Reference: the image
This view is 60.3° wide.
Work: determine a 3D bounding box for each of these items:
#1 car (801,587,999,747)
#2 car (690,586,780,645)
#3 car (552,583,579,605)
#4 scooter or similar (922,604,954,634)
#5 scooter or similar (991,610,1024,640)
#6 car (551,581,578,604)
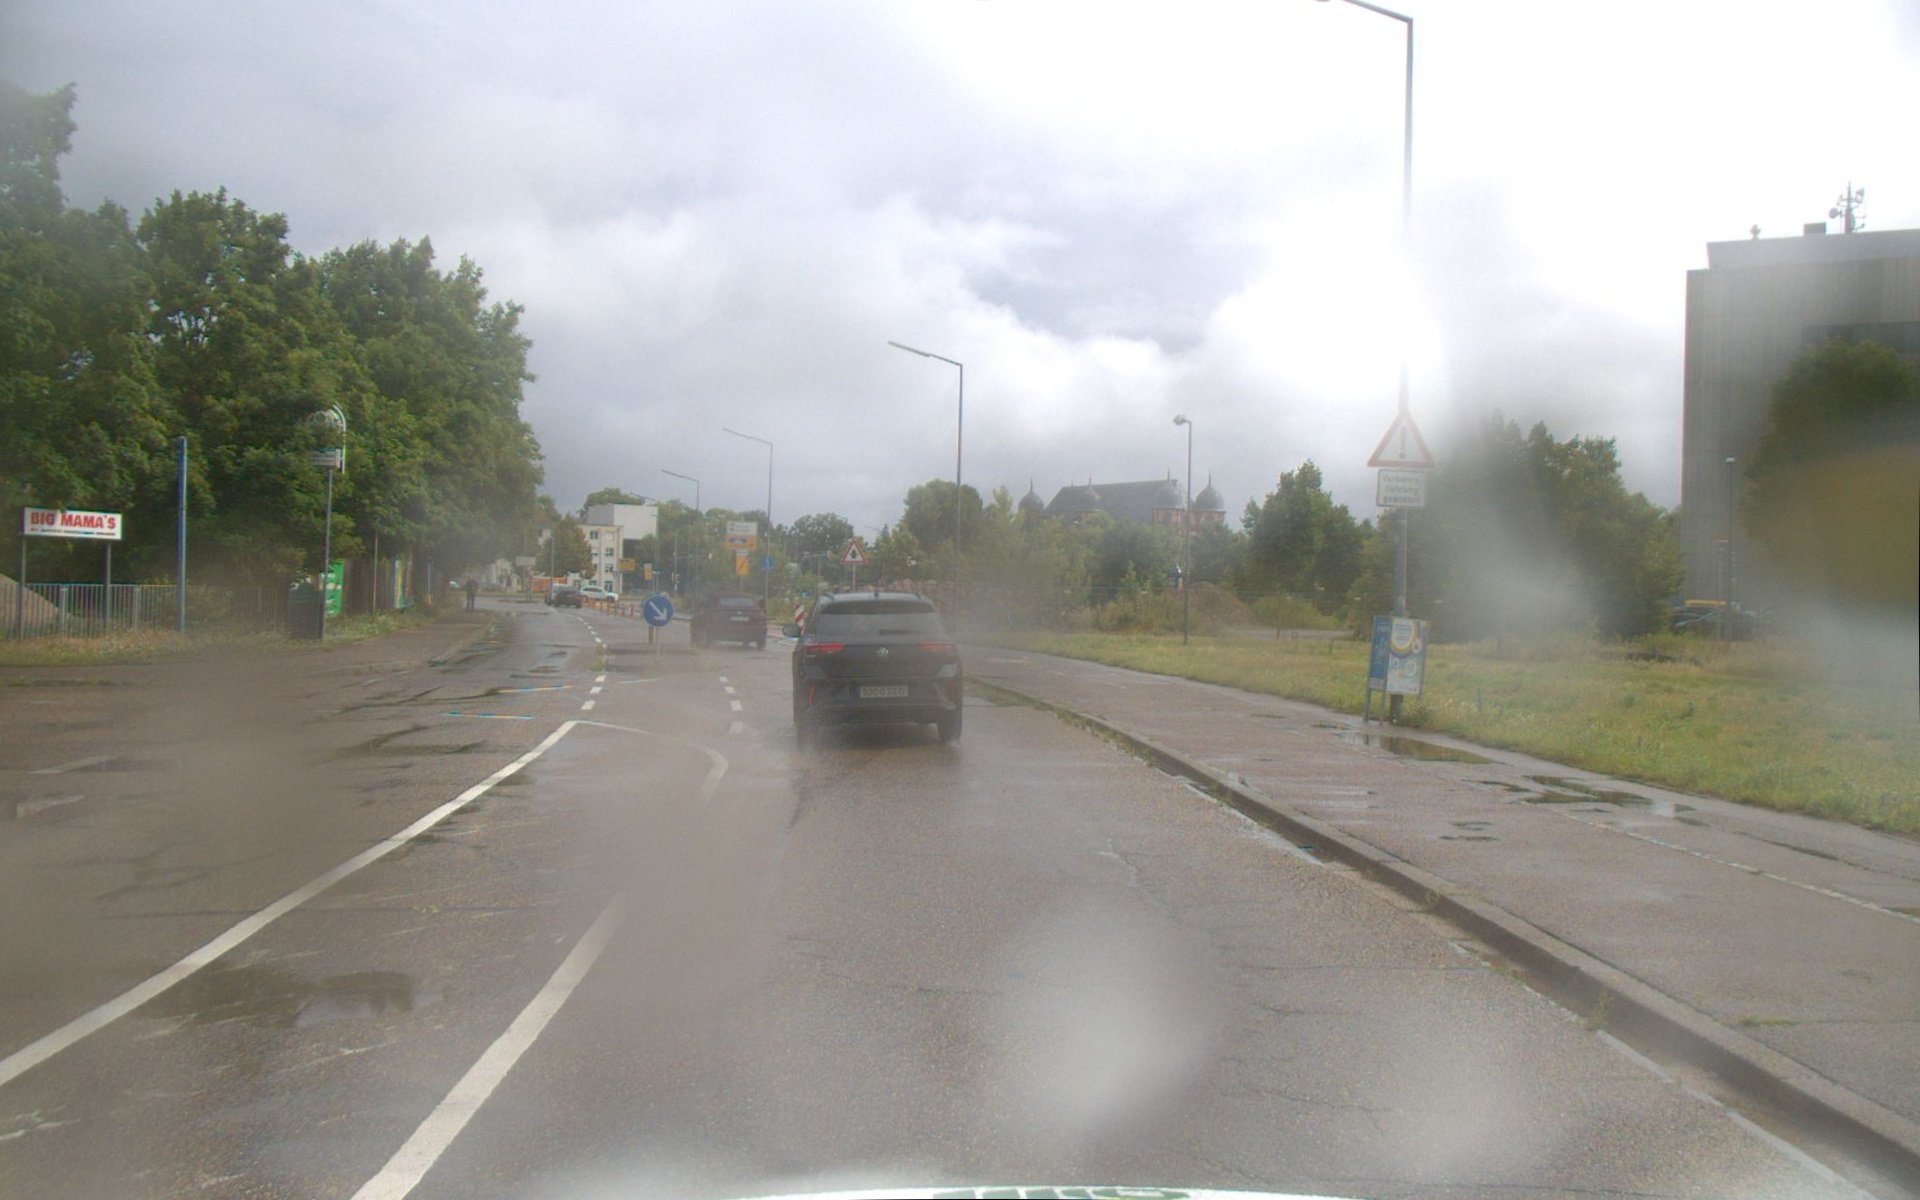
[{"bbox_3d":[-0.779,0.650,18.457,1.948,1.547,3.995,-1,0,-6],"label":"car"},{"bbox_3d":[-6.057,0.426,44.178,1.811,1.467,3.982,-1,0,-16],"label":"car"},{"bbox_3d":[-32.549,-0.471,136.320,1.964,1.732,3.998,1,0,-16],"label":"car"},{"bbox_3d":[-0.952,0.831,72.402,1.255,1.207,0.503,4,1,25],"label":"scooter or similar"},{"bbox_3d":[2.053,1.076,71.986,1.255,1.207,0.503,4,1,25],"label":"scooter or similar"},{"bbox_3d":[-29.962,-0.545,125.280,1.811,1.670,3.998,1,0,-16],"label":"car"}]
